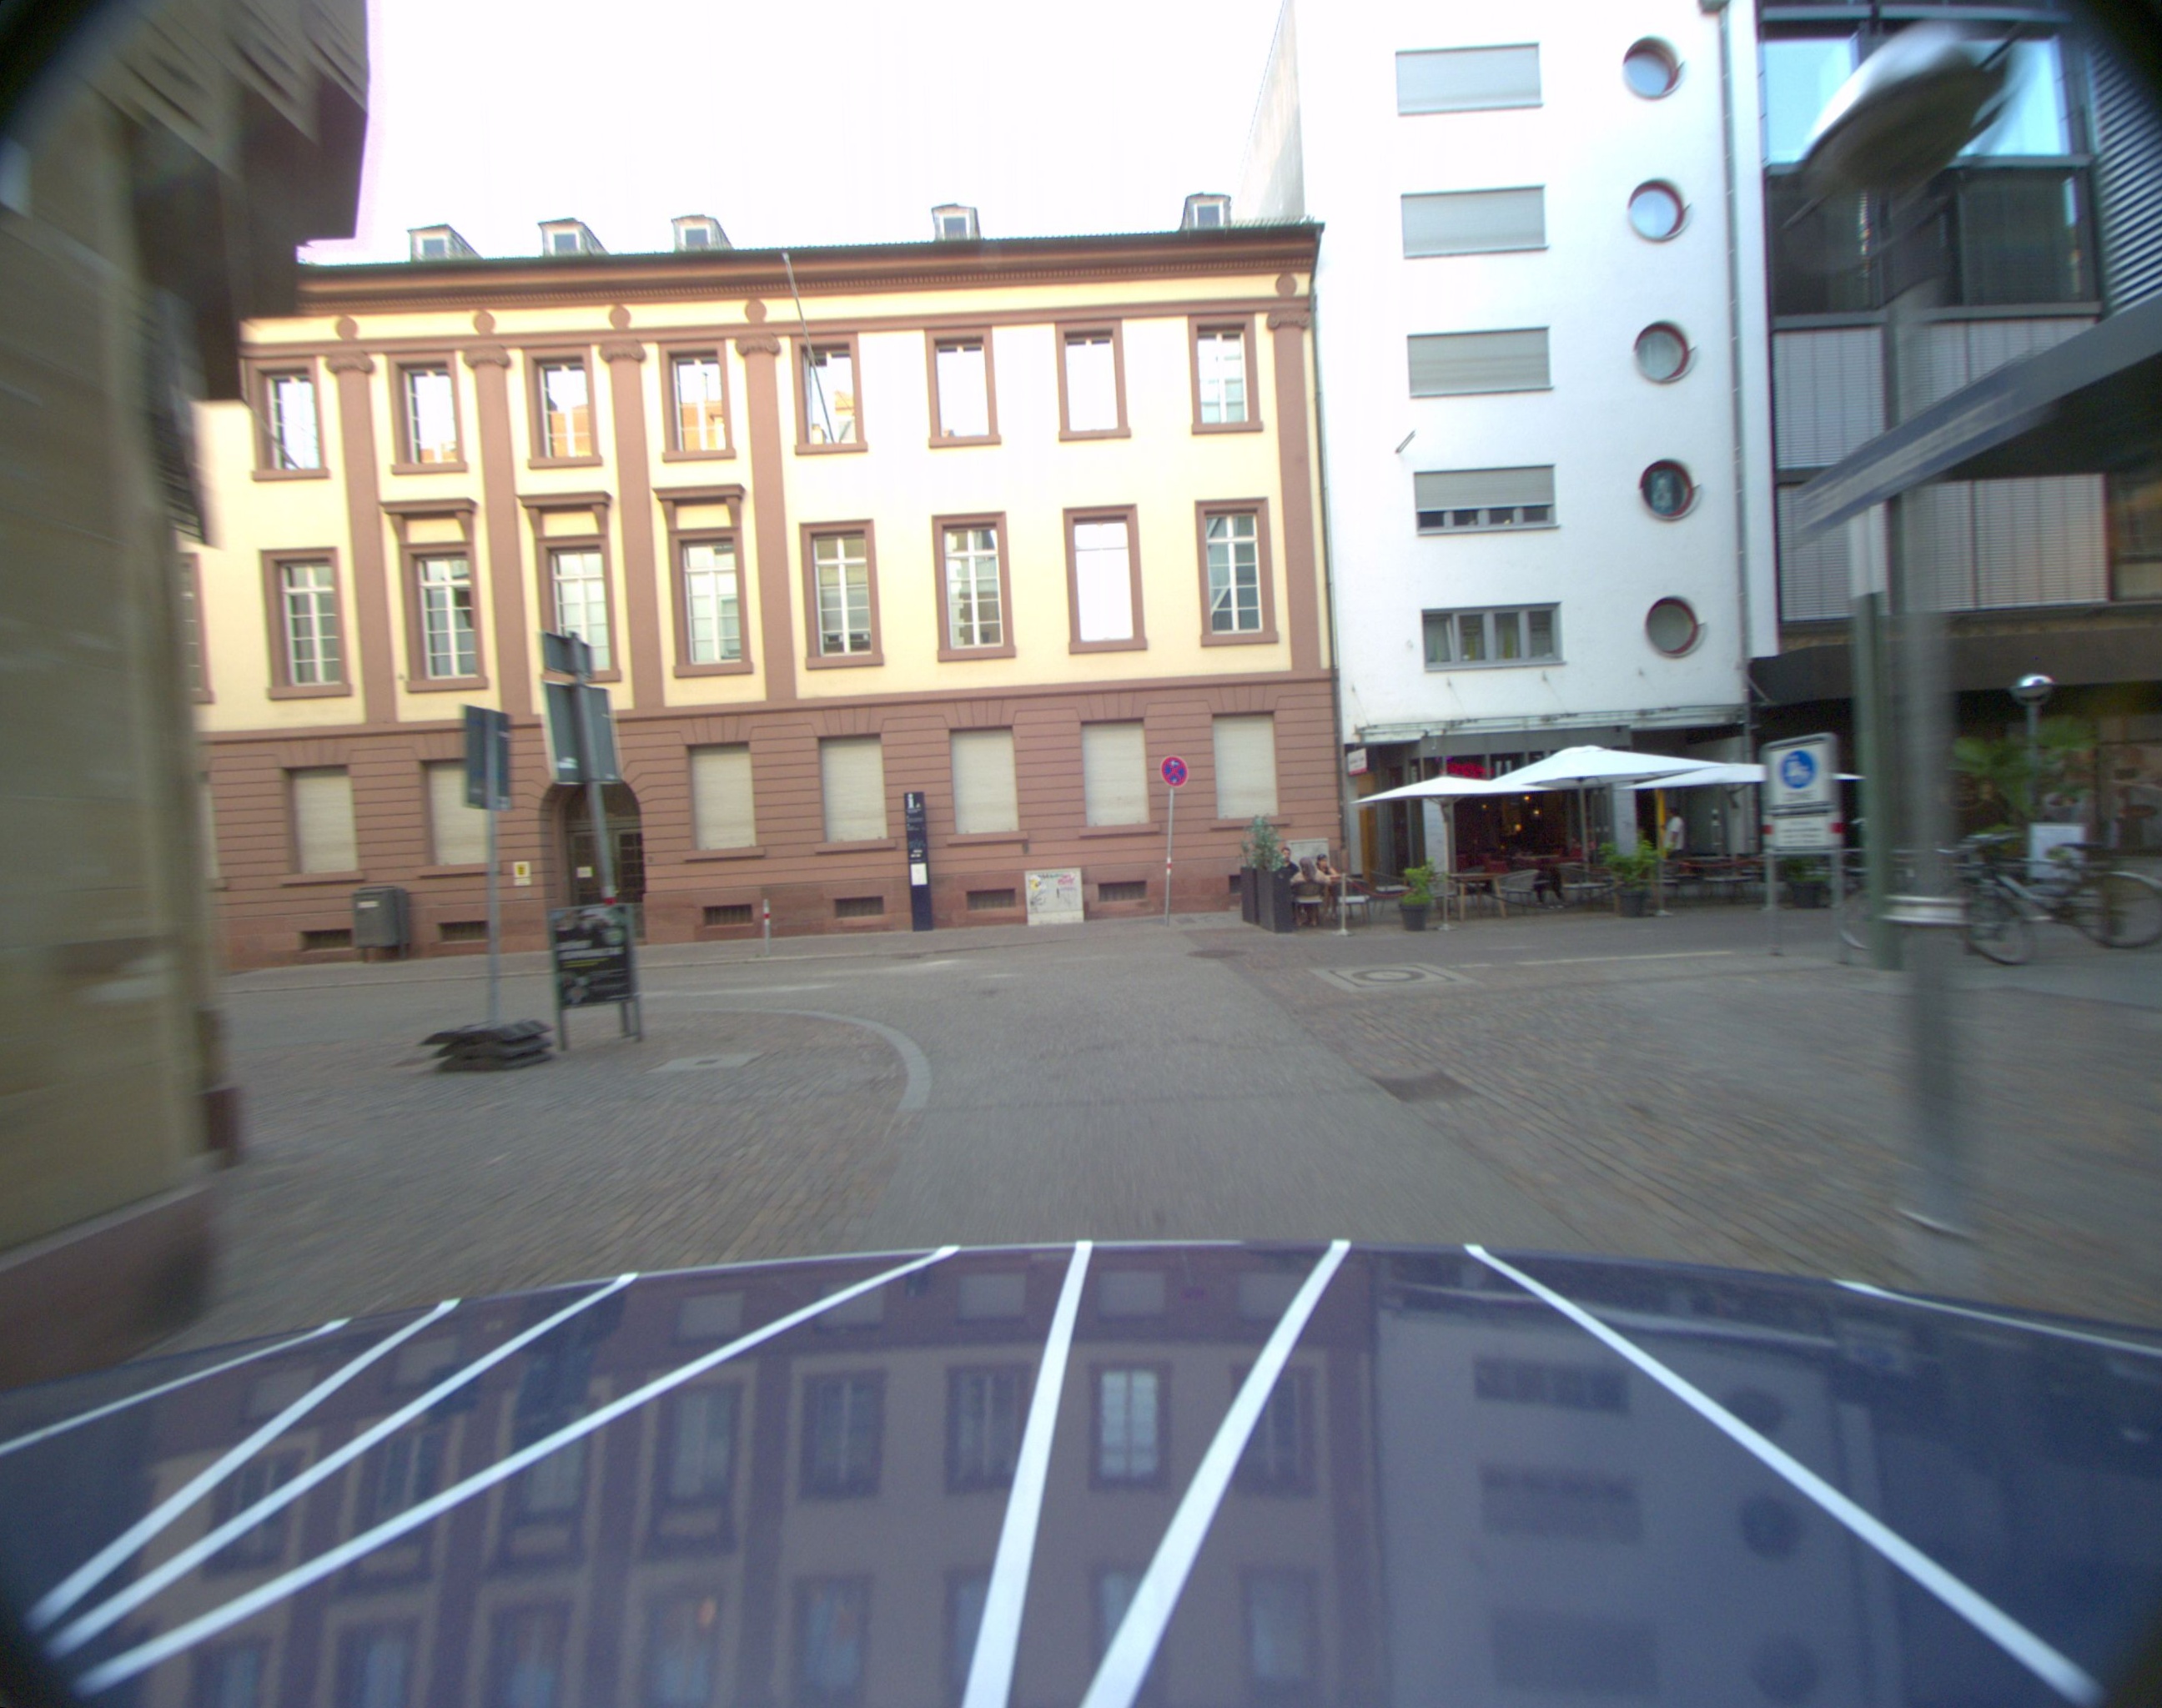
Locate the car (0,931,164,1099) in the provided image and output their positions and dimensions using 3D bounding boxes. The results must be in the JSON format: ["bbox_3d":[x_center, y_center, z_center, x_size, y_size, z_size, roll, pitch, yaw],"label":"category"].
[{"bbox_3d":[-12.144,1.707,7.683,3.594,1.417,1.618,-3,4,0],"label":"car"}]

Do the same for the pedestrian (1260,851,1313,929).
[{"bbox_3d":[3.720,0.629,13.810,0.673,1.324,0.792,-3,3,-3],"label":"pedestrian"}]

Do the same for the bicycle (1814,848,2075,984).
[{"bbox_3d":[8.131,0.545,7.284,0.467,1.129,1.703,-3,-1,-1],"label":"bicycle"}]

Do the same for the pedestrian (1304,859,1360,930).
[{"bbox_3d":[4.477,0.711,13.602,0.673,1.177,0.792,-3,3,-3],"label":"pedestrian"}]

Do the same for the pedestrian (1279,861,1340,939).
[{"bbox_3d":[3.773,0.746,12.606,0.673,1.177,0.792,-3,3,-6],"label":"pedestrian"}]

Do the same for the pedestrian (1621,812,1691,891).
[{"bbox_3d":[12.551,-0.056,16.602,0.800,1.649,0.857,-4,1,-18],"label":"pedestrian"}]

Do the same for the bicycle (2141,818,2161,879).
[{"bbox_3d":[19.505,-0.058,12.815,0.467,1.069,1.952,-3,3,-1],"label":"bicycle"}]

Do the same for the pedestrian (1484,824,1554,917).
[{"bbox_3d":[8.098,0.292,14.077,0.725,1.639,0.792,-3,1,-6],"label":"pedestrian"}]

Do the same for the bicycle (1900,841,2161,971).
[{"bbox_3d":[9.601,0.473,7.638,0.467,1.114,2.016,-3,-1,-1],"label":"bicycle"}]
